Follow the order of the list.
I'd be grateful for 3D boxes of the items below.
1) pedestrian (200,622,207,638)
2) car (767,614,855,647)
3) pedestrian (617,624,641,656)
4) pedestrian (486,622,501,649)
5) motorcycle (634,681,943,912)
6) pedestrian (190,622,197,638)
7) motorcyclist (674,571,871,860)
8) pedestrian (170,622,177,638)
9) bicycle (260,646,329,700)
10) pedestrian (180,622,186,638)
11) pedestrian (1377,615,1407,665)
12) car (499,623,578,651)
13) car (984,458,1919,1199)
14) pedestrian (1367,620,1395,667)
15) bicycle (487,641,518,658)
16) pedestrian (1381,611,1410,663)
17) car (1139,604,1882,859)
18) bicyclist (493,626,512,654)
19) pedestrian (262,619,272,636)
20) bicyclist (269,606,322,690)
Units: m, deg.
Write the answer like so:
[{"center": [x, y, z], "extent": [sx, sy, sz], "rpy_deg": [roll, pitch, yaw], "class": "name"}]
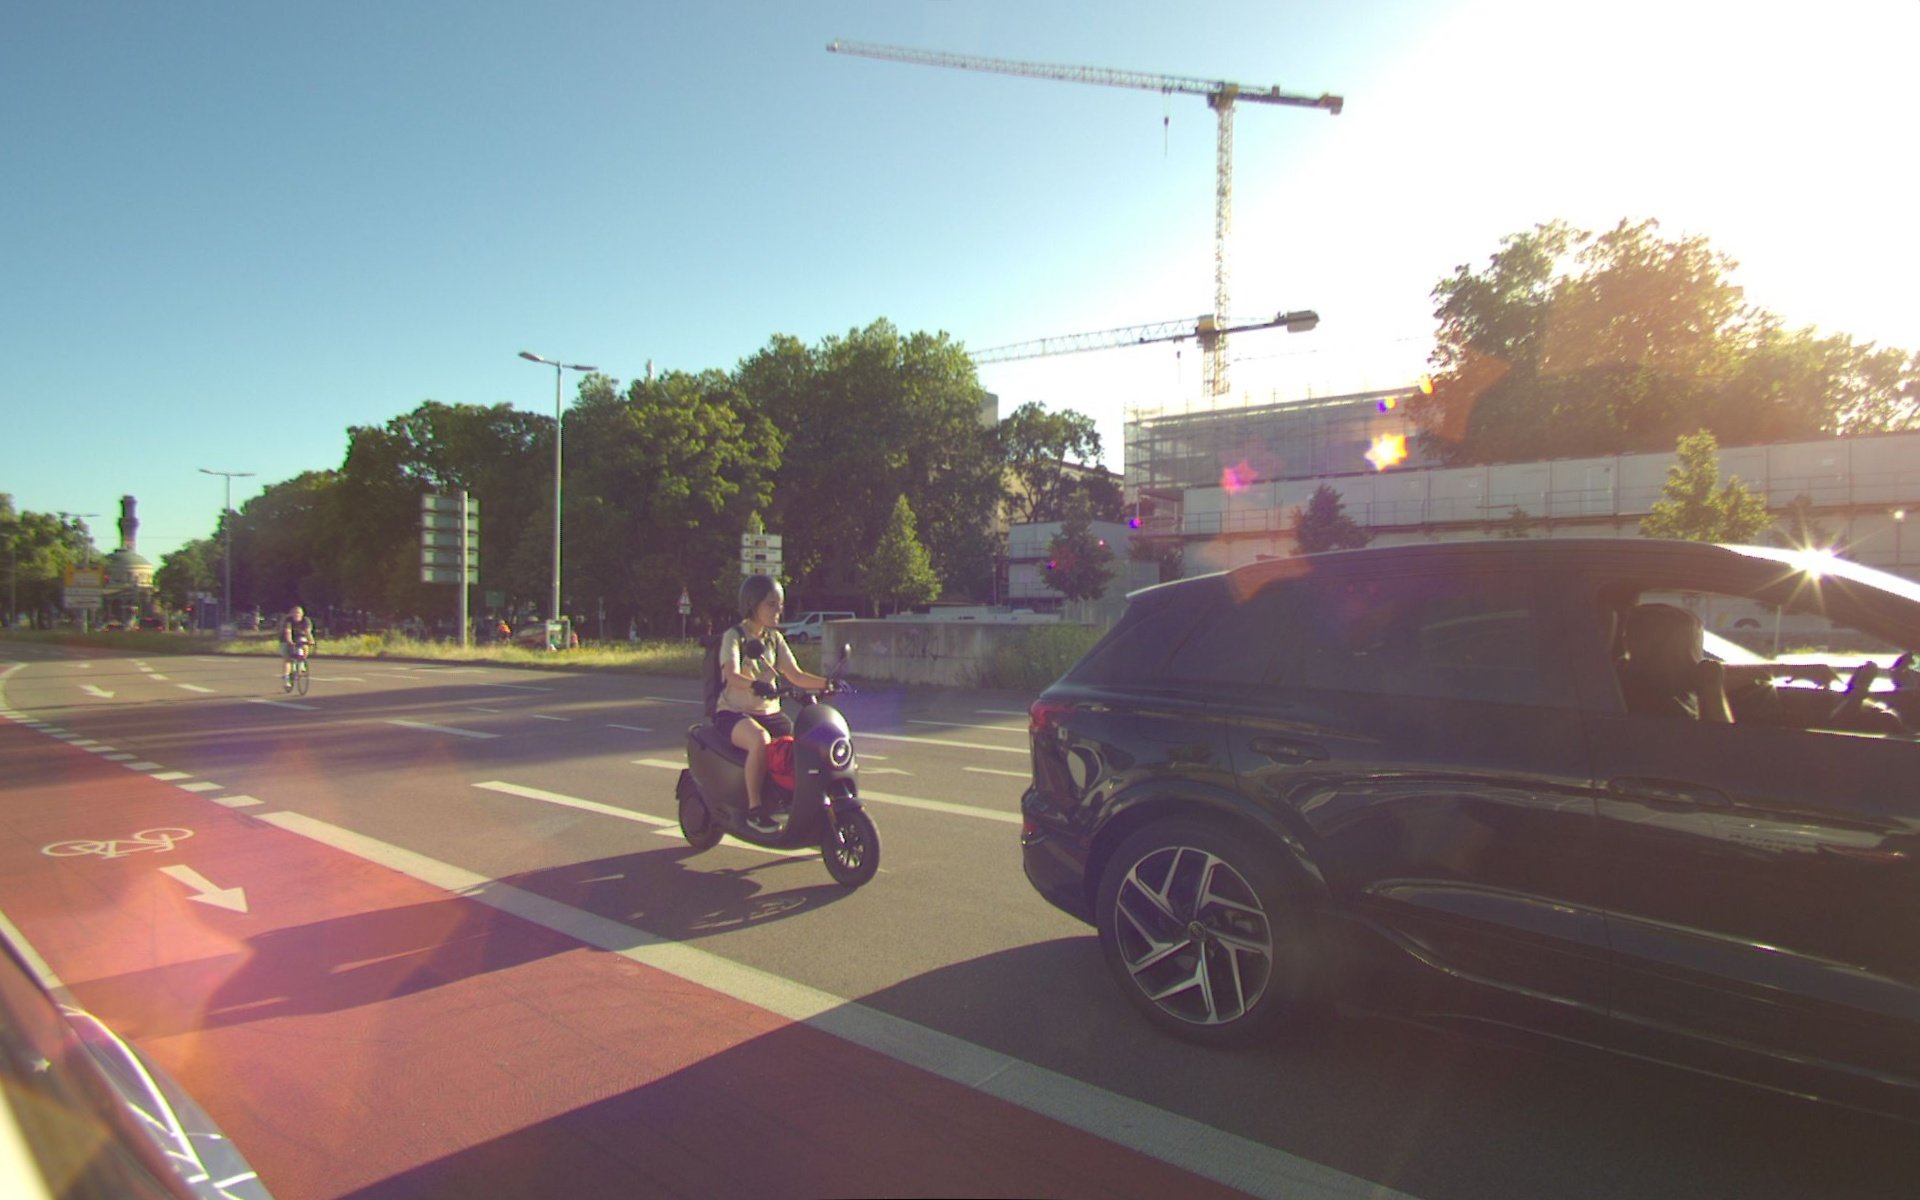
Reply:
[{"center": [-94.899, 3.723, 126.886], "extent": [0.594, 2.029, 0.519], "rpy_deg": [-1, -2, 38], "class": "pedestrian"}, {"center": [-9.033, 1.850, 61.784], "extent": [2.000, 1.906, 5.256], "rpy_deg": [-2, -3, 42], "class": "car"}, {"center": [-19.315, 2.342, 59.070], "extent": [0.964, 1.796, 0.984], "rpy_deg": [-1, 0, 41], "class": "pedestrian"}, {"center": [-31.156, 2.365, 67.550], "extent": [0.697, 1.740, 0.656], "rpy_deg": [-1, -2, 41], "class": "pedestrian"}, {"center": [-1.042, 1.009, 5.765], "extent": [0.746, 0.976, 1.961], "rpy_deg": [0, -1, -45], "class": "motorcycle"}, {"center": [-95.532, 3.732, 126.178], "extent": [0.594, 2.029, 0.519], "rpy_deg": [-1, -2, 38], "class": "pedestrian"}, {"center": [-1.085, 0.604, 5.820], "extent": [0.746, 1.495, 0.882], "rpy_deg": [0, -1, -45], "class": "motorcyclist"}, {"center": [-99.565, 3.809, 128.151], "extent": [0.594, 1.981, 0.519], "rpy_deg": [-1, -2, 38], "class": "pedestrian"}, {"center": [-12.415, 1.337, 18.859], "extent": [1.910, 0.915, 0.616], "rpy_deg": [-1, -1, 42], "class": "bicycle"}, {"center": [-98.913, 3.776, 128.816], "extent": [0.594, 2.029, 0.519], "rpy_deg": [-1, -2, 38], "class": "pedestrian"}, {"center": [13.948, 1.290, 32.680], "extent": [0.654, 1.601, 0.829], "rpy_deg": [-1, -2, 41], "class": "pedestrian"}, {"center": [-18.173, 1.571, 43.578], "extent": [3.767, 1.141, 1.598], "rpy_deg": [-1, -1, 40], "class": "car"}, {"center": [2.622, 0.551, 3.109], "extent": [4.786, 1.675, 2.172], "rpy_deg": [-1, -2, 39], "class": "car"}, {"center": [13.312, 1.367, 32.013], "extent": [0.654, 1.464, 0.596], "rpy_deg": [-1, -2, 41], "class": "pedestrian"}, {"center": [-22.717, 2.434, 50.238], "extent": [1.979, 0.810, 0.609], "rpy_deg": [-1, -2, 41], "class": "bicycle"}, {"center": [14.433, 1.234, 33.527], "extent": [0.654, 1.693, 0.829], "rpy_deg": [-1, -2, 41], "class": "pedestrian"}, {"center": [3.768, 0.737, 7.575], "extent": [4.523, 1.362, 1.753], "rpy_deg": [-1, -1, 40], "class": "car"}, {"center": [-22.715, 1.989, 50.247], "extent": [0.768, 1.377, 0.609], "rpy_deg": [-1, -2, 41], "class": "bicyclist"}, {"center": [-85.470, 3.420, 124.813], "extent": [0.691, 2.029, 0.691], "rpy_deg": [-1, -2, 24], "class": "pedestrian"}, {"center": [-12.368, 0.873, 18.826], "extent": [0.937, 1.515, 0.616], "rpy_deg": [-1, -1, 42], "class": "bicyclist"}]
